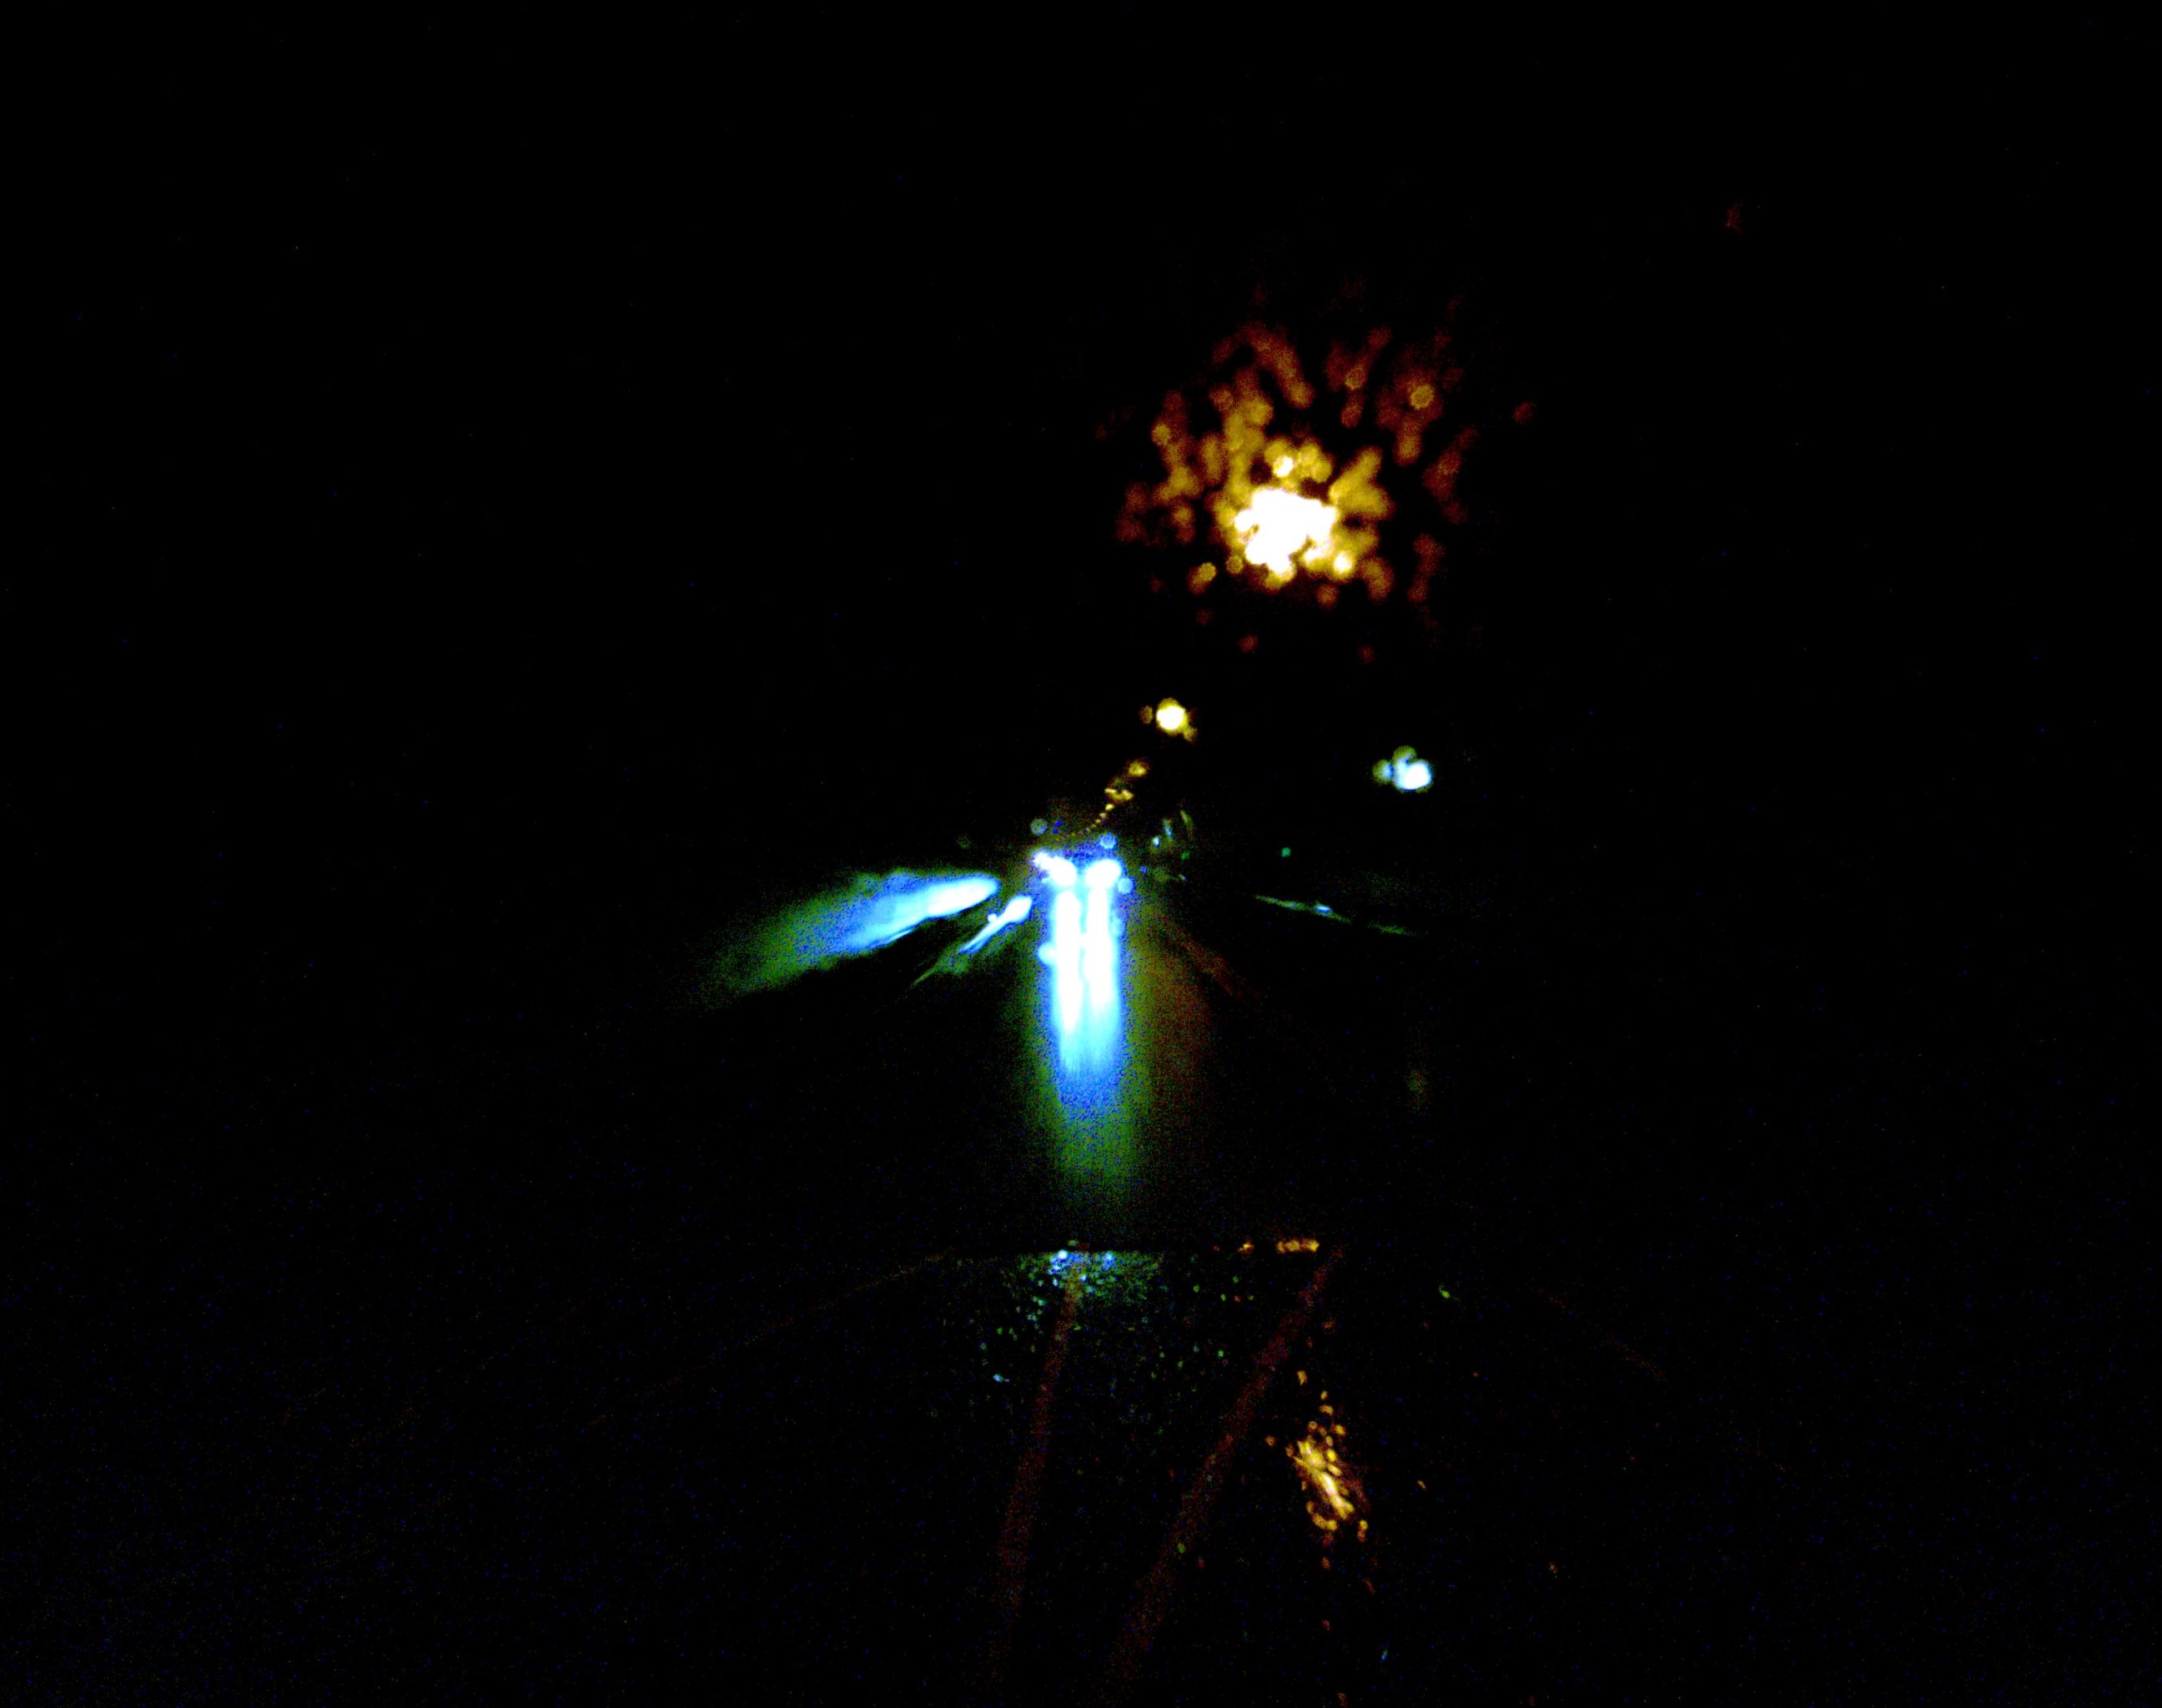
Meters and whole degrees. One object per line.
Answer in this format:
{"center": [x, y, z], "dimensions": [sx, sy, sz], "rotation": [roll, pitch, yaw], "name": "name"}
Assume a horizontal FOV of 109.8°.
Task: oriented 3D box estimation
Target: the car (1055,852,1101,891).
{"center": [-0.149, 0.750, 35.539], "dimensions": [1.999, 1.547, 3.998], "rotation": [-3, 2, -1], "name": "car"}
